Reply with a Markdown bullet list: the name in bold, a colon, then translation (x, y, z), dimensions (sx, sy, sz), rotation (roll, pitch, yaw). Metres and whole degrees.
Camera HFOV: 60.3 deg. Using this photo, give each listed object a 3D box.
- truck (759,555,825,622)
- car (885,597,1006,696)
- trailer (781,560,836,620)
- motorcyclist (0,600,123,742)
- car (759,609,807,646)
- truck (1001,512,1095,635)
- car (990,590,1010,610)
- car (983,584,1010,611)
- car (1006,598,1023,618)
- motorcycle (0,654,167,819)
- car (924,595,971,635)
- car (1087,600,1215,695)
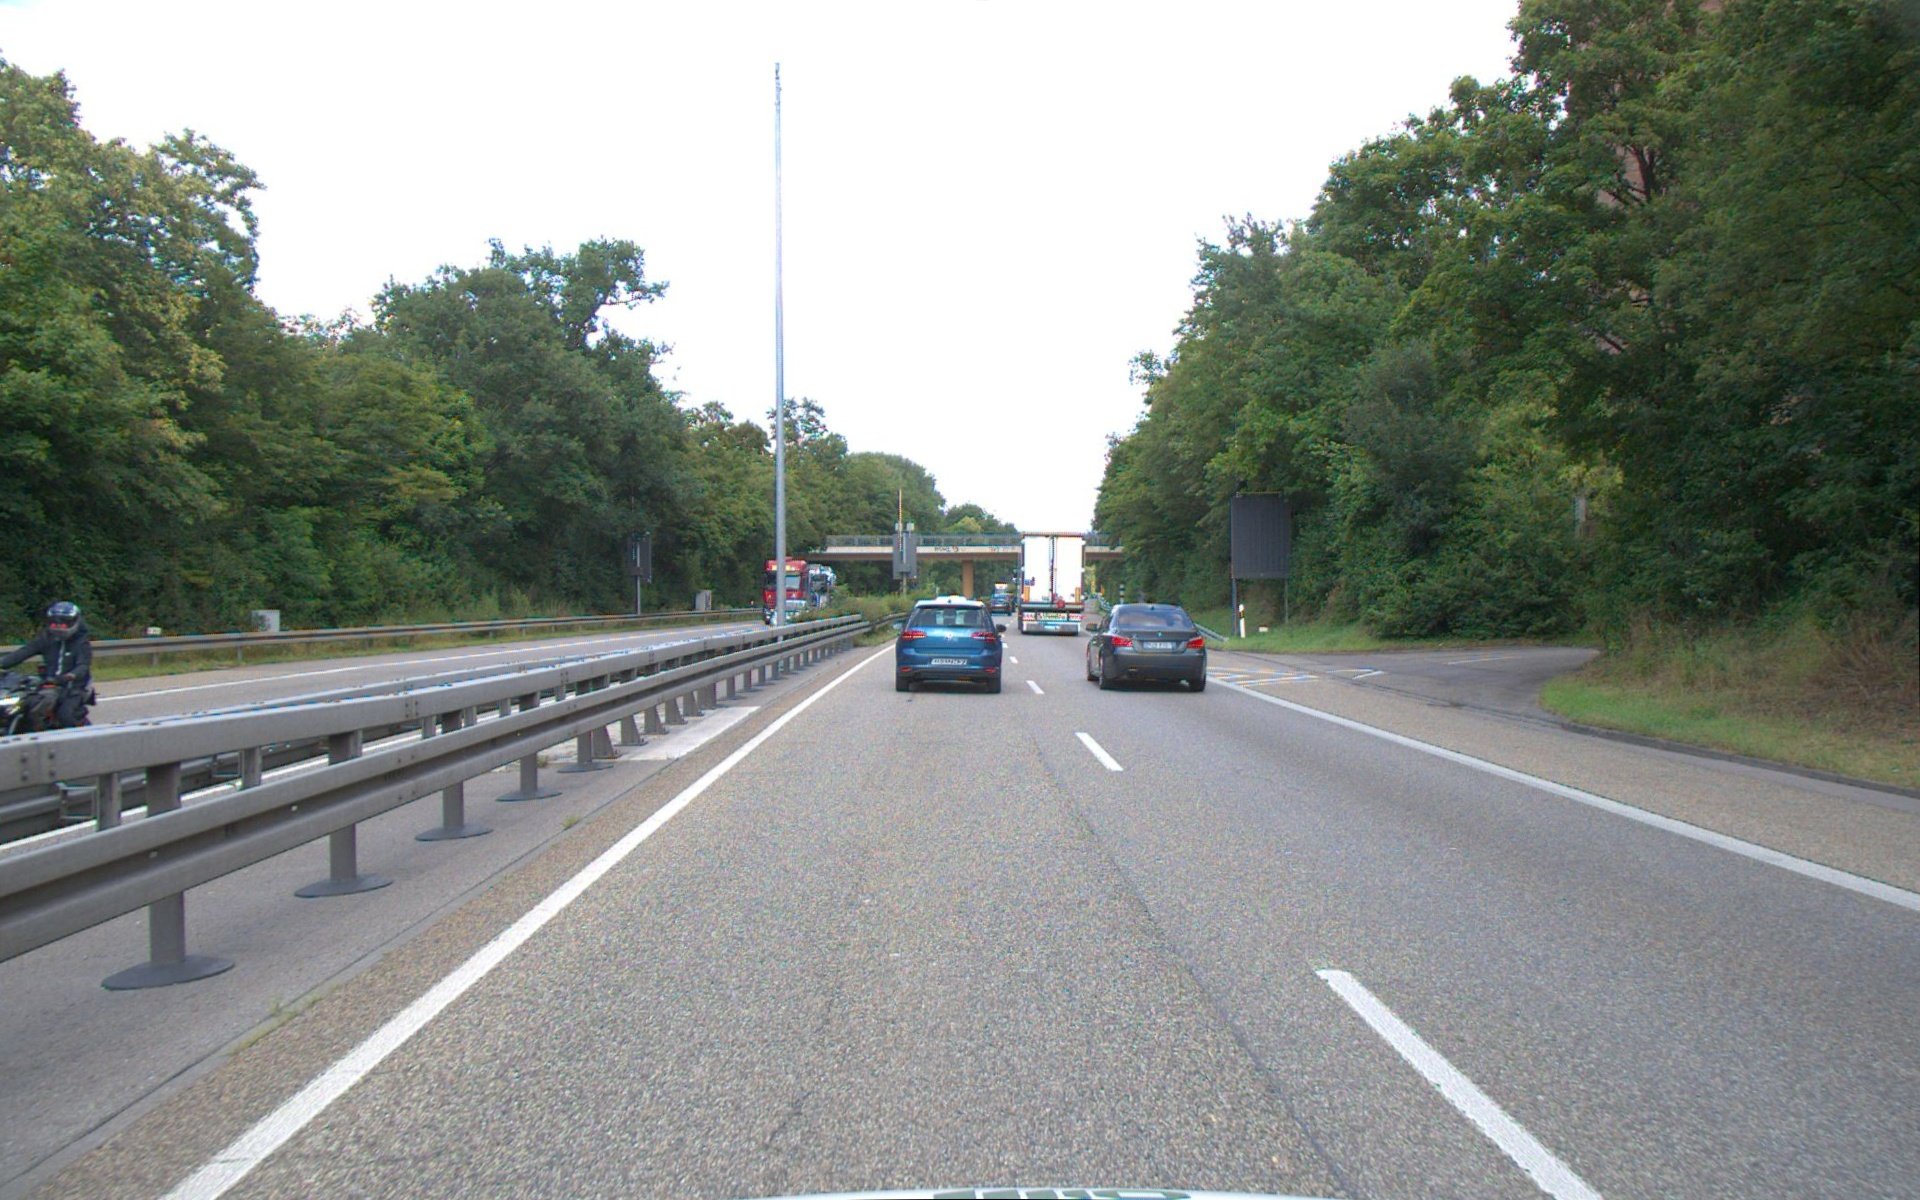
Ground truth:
- **truck**: translation (-10.397, -0.695, 103.413), dimensions (2.894, 3.923, 10.324), rotation (-1, 0, 0)
- **car**: translation (-0.172, 0.713, 27.621), dimensions (1.669, 1.495, 4.002), rotation (1, 0, 4)
- **trailer**: translation (-10.336, -0.665, 113.732), dimensions (2.878, 3.900, 10.309), rotation (-1, 0, 0)
- **motorcyclist**: translation (-8.190, 0.633, 15.018), dimensions (0.809, 1.247, 0.720), rotation (-1, 0, -2)
- **car**: translation (-8.014, 1.226, 75.132), dimensions (1.670, 1.596, 4.032), rotation (0, 0, 1)
- **truck**: translation (3.600, -1.070, 70.348), dimensions (3.176, 4.798, 11.004), rotation (-1, 0, -1)
- **car**: translation (3.716, -0.017, 152.705), dimensions (1.729, 1.803, 4.025), rotation (-1, 0, 3)
- **car**: translation (2.821, -0.181, 127.487), dimensions (1.913, 2.049, 4.002), rotation (-1, 0, 4)
- **car**: translation (6.420, 0.913, 194.922), dimensions (1.952, 2.368, 4.443), rotation (-1, 0, 2)
- **motorcycle**: translation (-8.254, 1.151, 14.754), dimensions (0.979, 1.222, 2.996), rotation (-1, 0, -1)
- **car**: translation (-0.464, 0.572, 65.776), dimensions (1.631, 1.526, 4.153), rotation (1, 0, 2)
- **car**: translation (3.310, 0.779, 29.479), dimensions (1.738, 1.501, 4.880), rotation (1, 0, 0)
